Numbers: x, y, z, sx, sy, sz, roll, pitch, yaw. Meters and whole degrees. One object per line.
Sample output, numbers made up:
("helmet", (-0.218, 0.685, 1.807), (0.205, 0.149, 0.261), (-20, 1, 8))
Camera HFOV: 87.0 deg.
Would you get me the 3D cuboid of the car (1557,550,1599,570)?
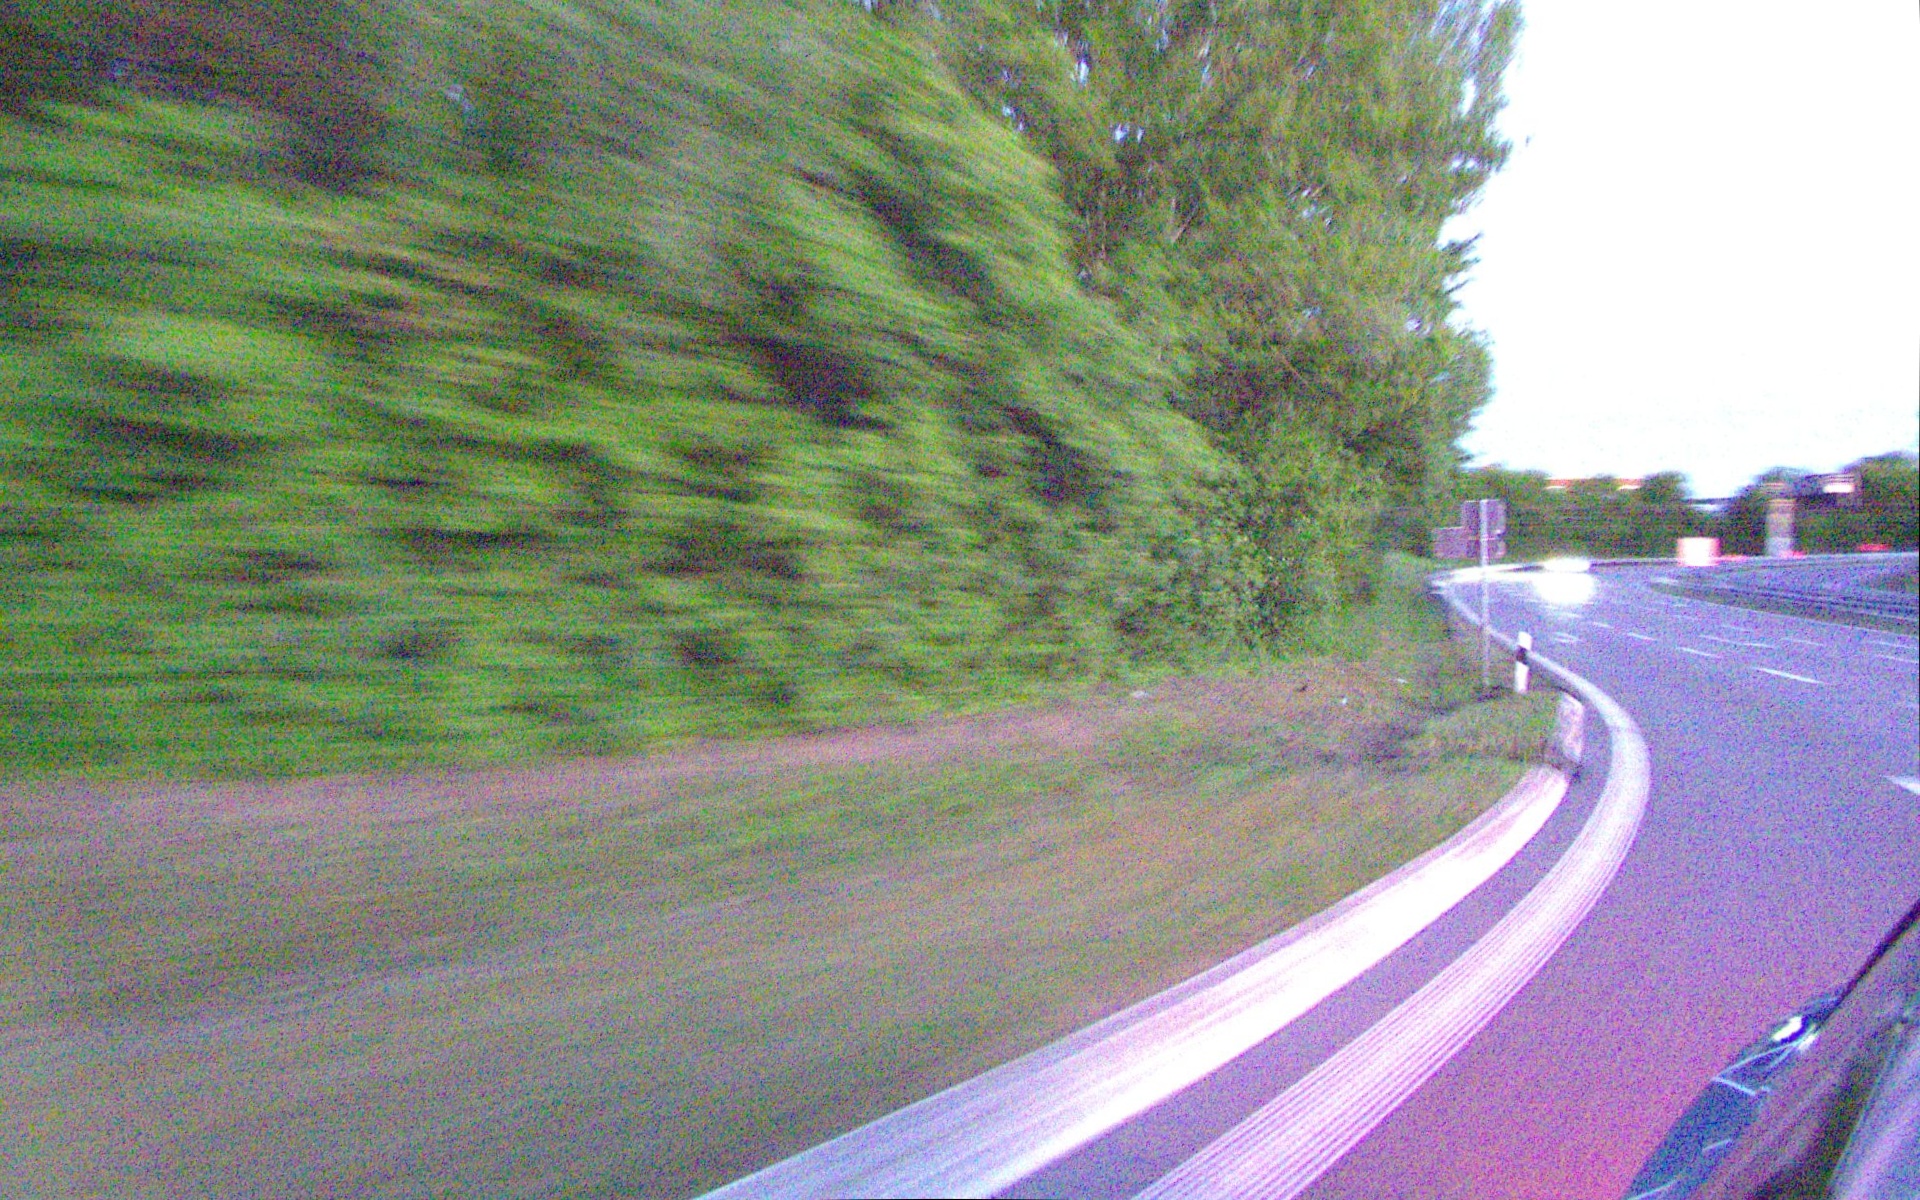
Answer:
("car", (54.183, -3.534, 88.694), (3.927, 1.673, 1.787), (-3, 3, -37))
